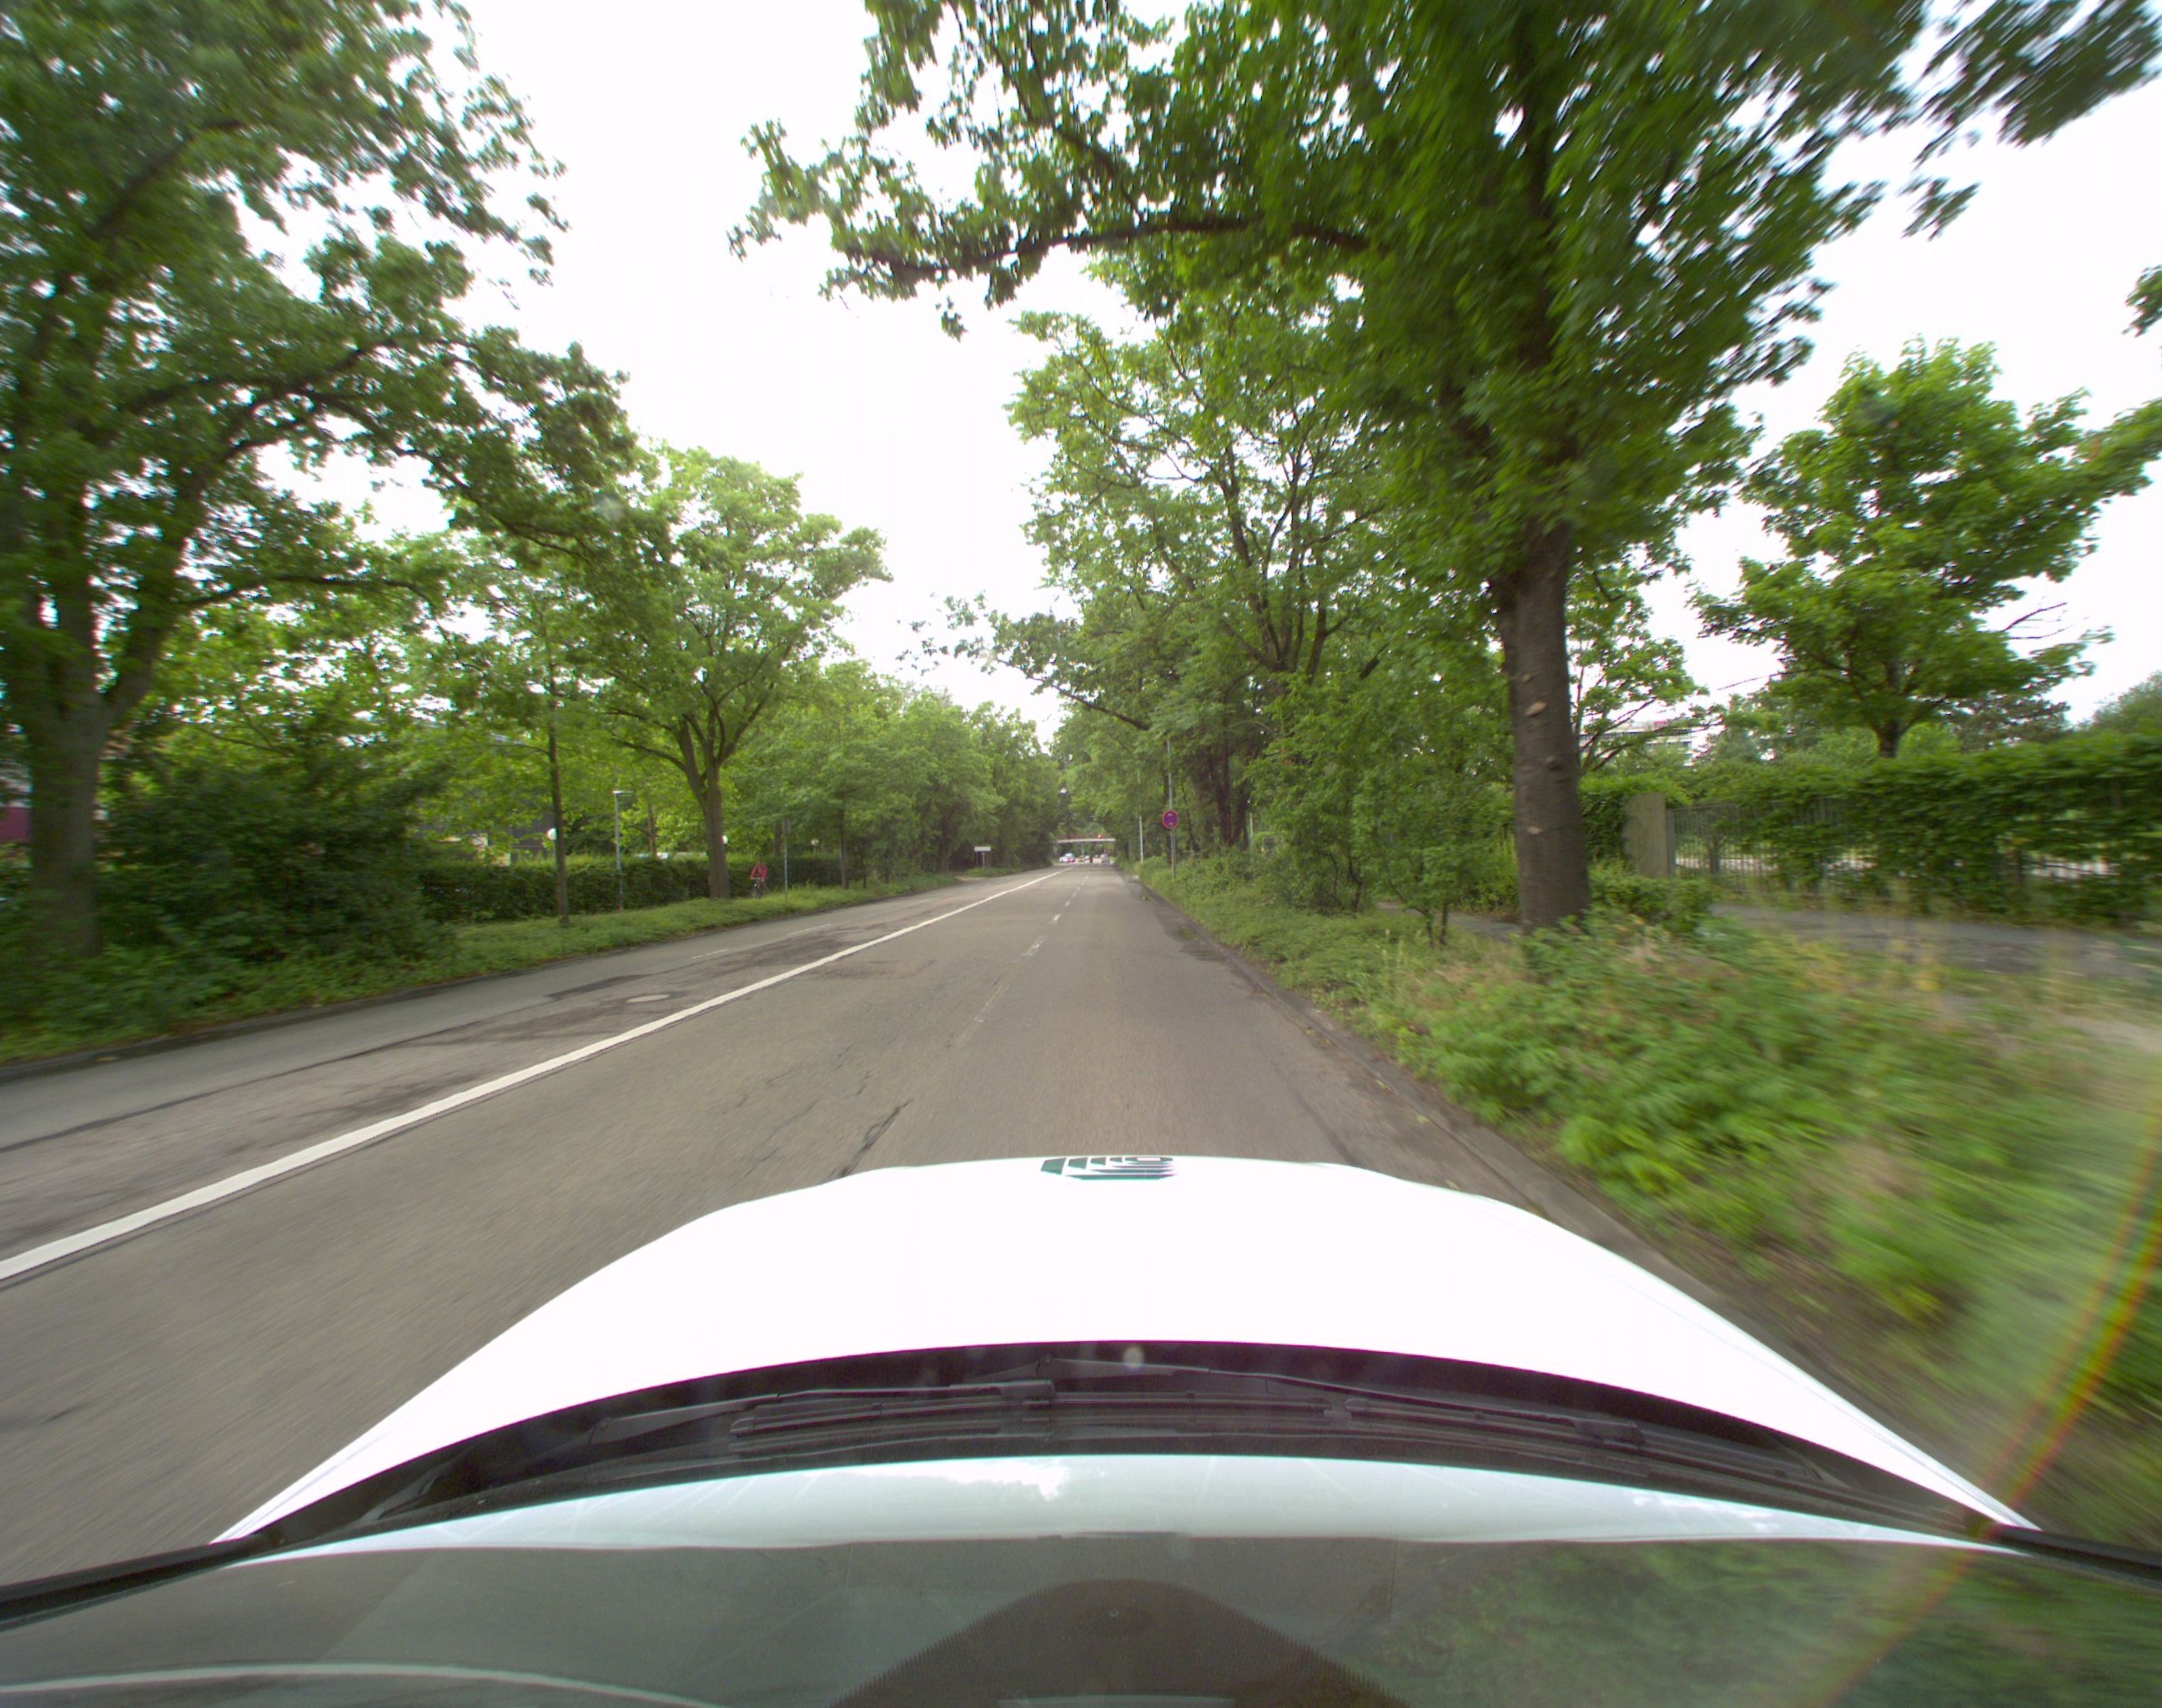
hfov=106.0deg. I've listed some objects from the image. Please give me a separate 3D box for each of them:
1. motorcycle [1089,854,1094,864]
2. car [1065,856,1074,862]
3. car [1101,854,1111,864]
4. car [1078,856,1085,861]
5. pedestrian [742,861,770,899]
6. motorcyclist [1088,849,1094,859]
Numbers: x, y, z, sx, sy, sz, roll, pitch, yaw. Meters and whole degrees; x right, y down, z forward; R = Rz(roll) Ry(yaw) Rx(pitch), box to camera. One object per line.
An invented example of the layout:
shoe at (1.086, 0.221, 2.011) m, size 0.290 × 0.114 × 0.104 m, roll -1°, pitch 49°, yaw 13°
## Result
motorcycle at (2.157, 1.026, 167.366) m, size 0.986 × 1.936 × 2.670 m, roll -1°, pitch 0°, yaw 1°
car at (-2.962, 1.264, 210.594) m, size 1.984 × 1.354 × 3.899 m, roll -1°, pitch 0°, yaw 4°
car at (5.042, 0.936, 163.630) m, size 1.836 × 2.013 × 4.001 m, roll -1°, pitch 0°, yaw 1°
car at (0.180, 1.208, 210.840) m, size 1.667 × 1.362 × 3.925 m, roll -1°, pitch 0°, yaw 4°
pedestrian at (-13.937, 1.108, 34.921) m, size 0.789 × 1.613 × 0.848 m, roll -1°, pitch 0°, yaw 1°
motorcyclist at (2.051, -0.042, 167.320) m, size 1.059 × 2.013 × 0.843 m, roll -1°, pitch 0°, yaw 1°
